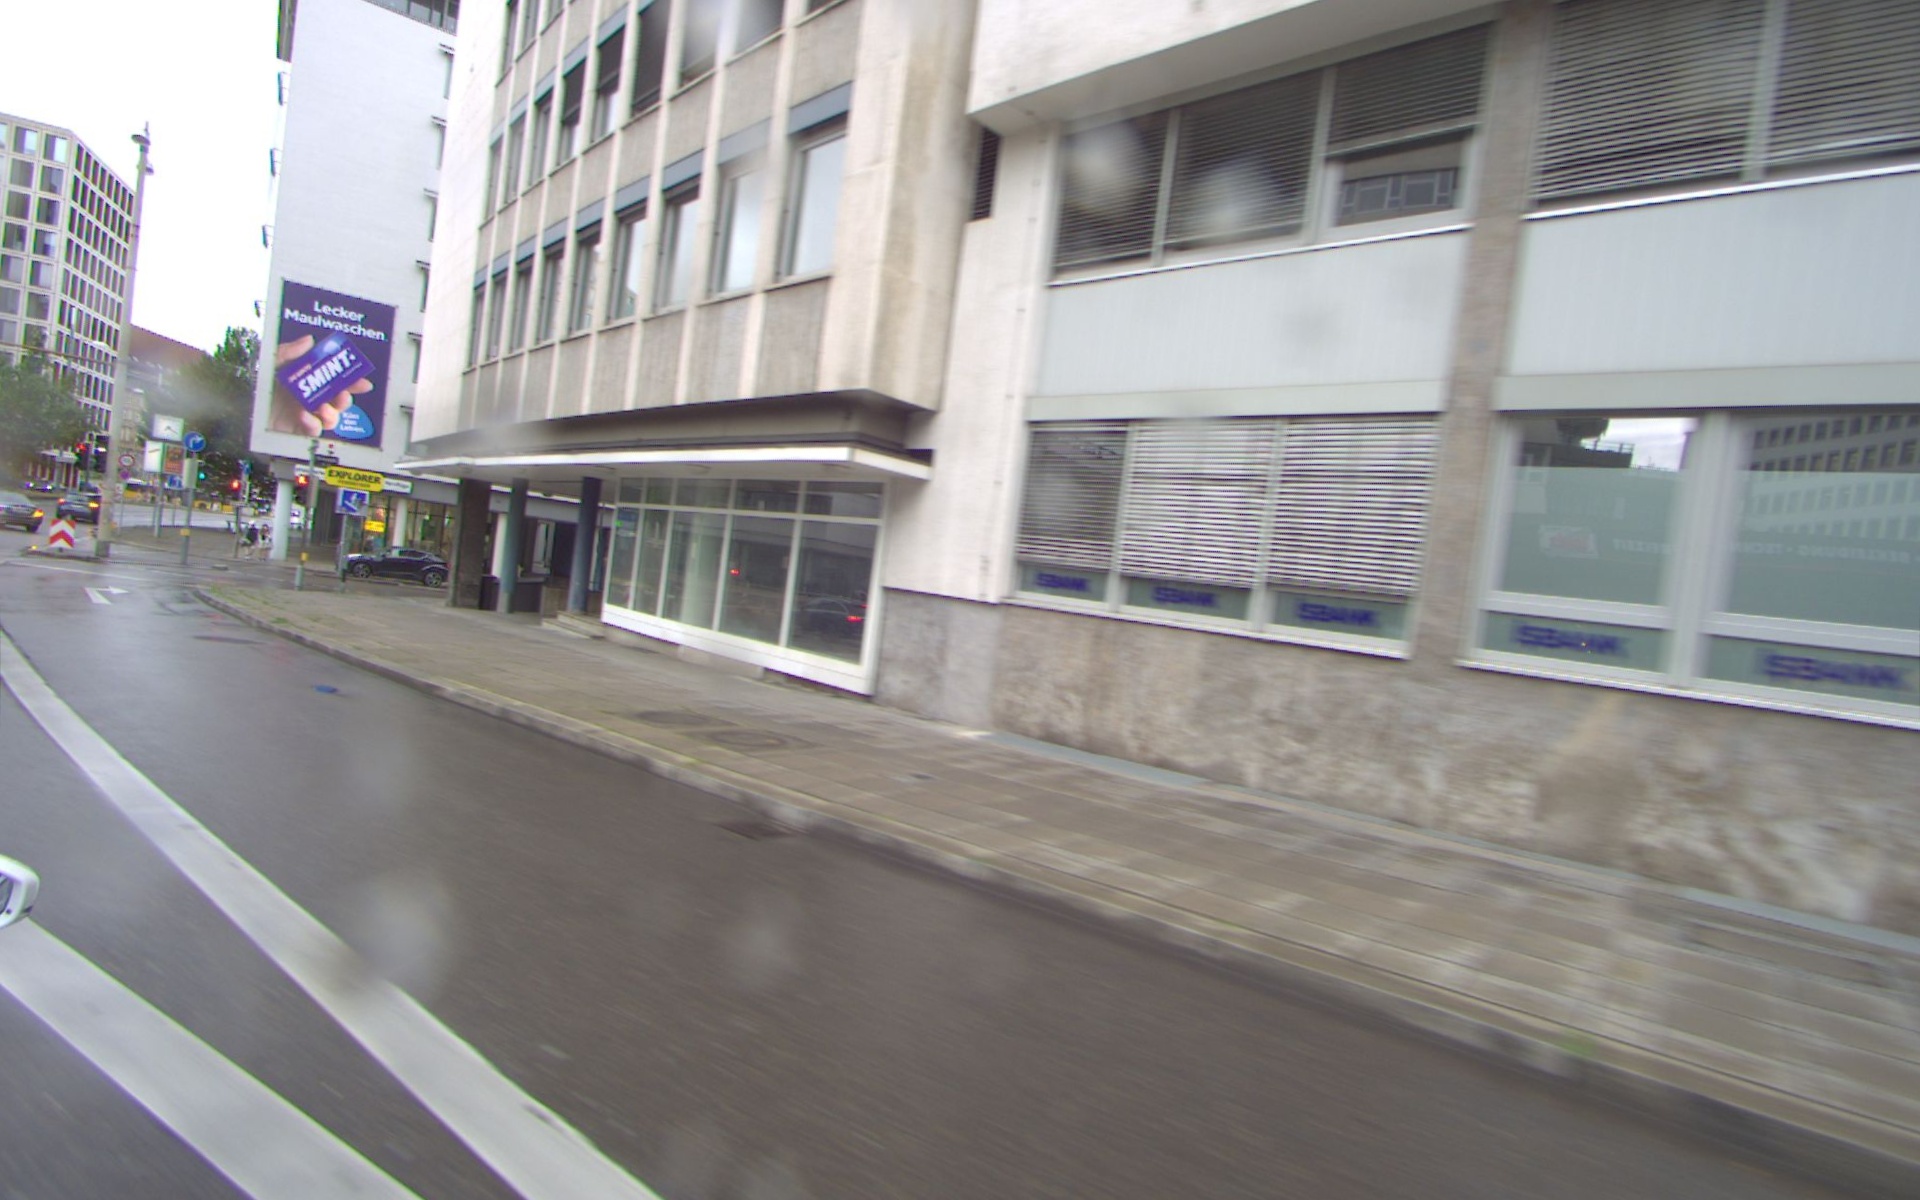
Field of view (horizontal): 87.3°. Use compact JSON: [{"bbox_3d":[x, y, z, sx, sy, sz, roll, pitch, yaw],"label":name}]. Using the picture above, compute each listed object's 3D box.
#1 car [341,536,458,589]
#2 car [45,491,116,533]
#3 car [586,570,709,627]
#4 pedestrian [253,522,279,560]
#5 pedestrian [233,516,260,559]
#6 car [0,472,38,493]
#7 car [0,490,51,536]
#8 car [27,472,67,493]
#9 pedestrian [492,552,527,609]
[{"bbox_3d":[-23.582,-1.578,42.387,3.968,1.570,1.980,10,-2,-36],"label":"car"},{"bbox_3d":[-47.249,-4.688,54.124,2.034,1.786,4.319,9,-1,-32],"label":"car"},{"bbox_3d":[-13.351,-0.034,43.139,4.502,1.771,1.976,9,-1,-42],"label":"car"},{"bbox_3d":[-29.446,-2.505,42.705,0.724,1.542,0.752,7,0,-39],"label":"pedestrian"},{"bbox_3d":[-30.027,-2.626,42.322,0.724,1.688,0.683,7,0,-39],"label":"pedestrian"},{"bbox_3d":[-103.104,-12.846,110.124,1.977,1.727,4.277,8,1,-27],"label":"car"},{"bbox_3d":[-38.539,-3.638,40.304,4.283,1.527,1.914,8,-1,31],"label":"car"},{"bbox_3d":[-97.716,-12.518,107.685,1.977,1.727,3.972,8,1,-27],"label":"car"},{"bbox_3d":[-15.432,-0.666,34.456,0.724,1.820,0.731,7,1,-39],"label":"pedestrian"}]
